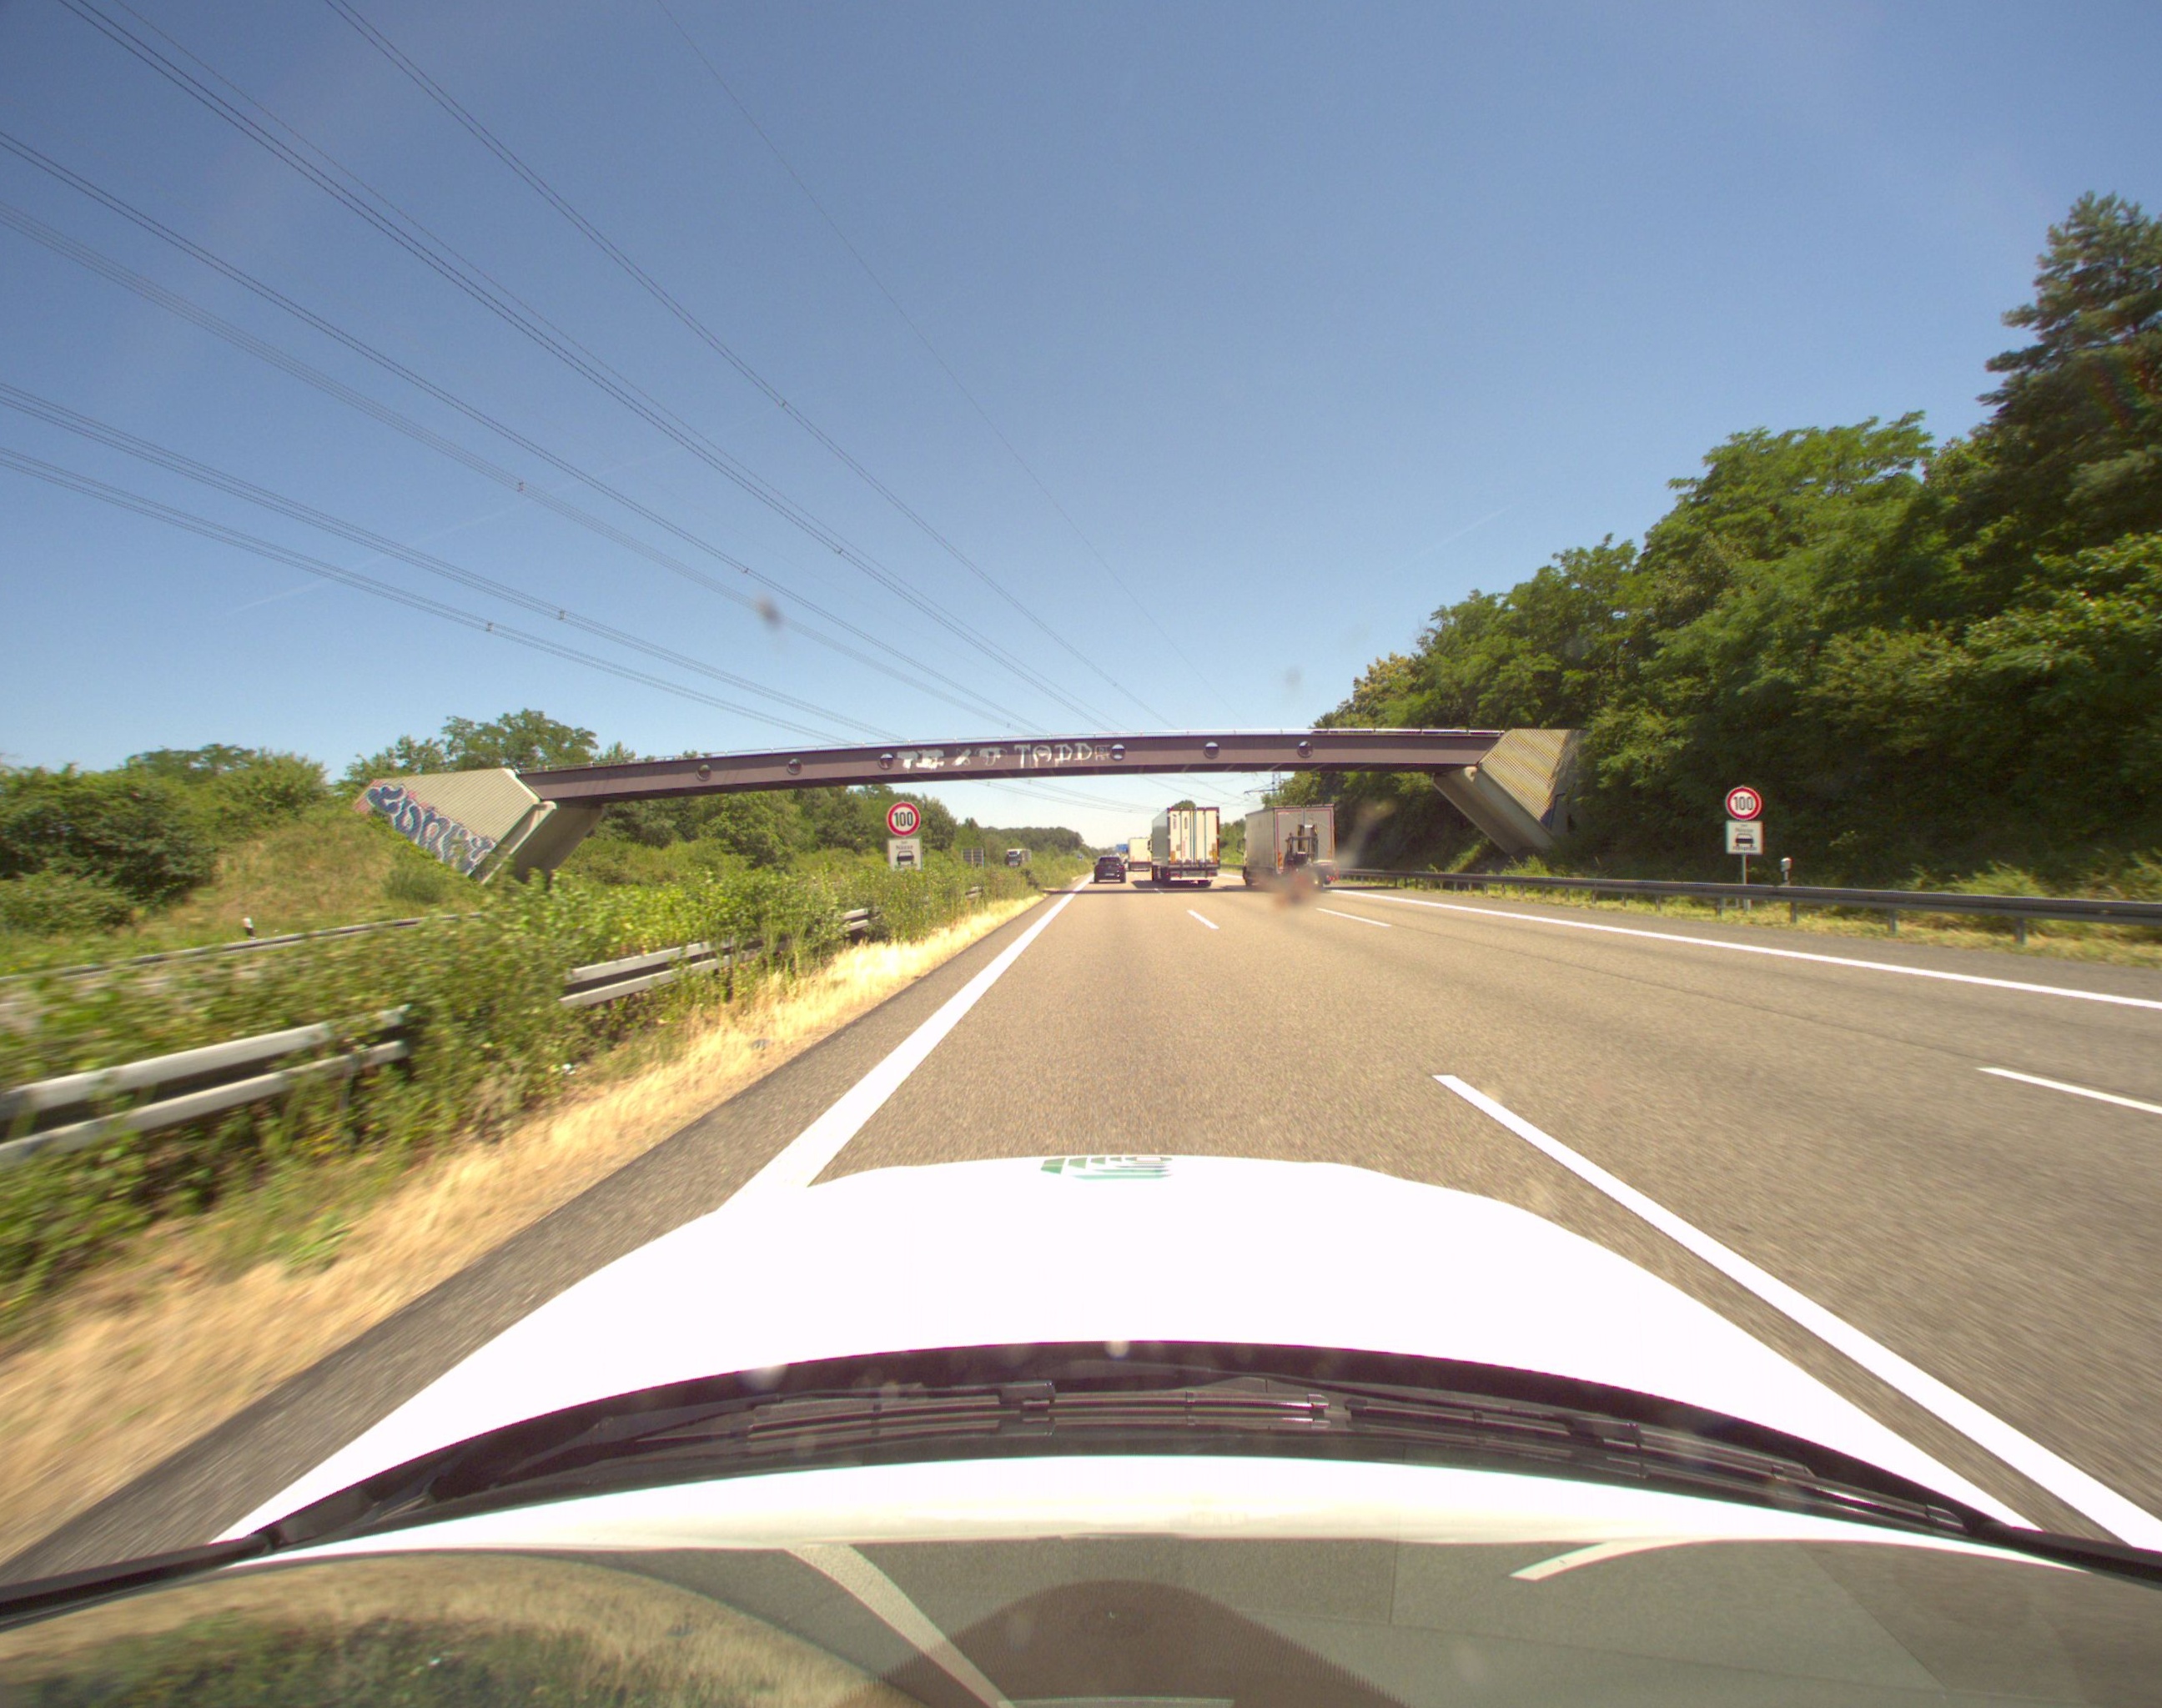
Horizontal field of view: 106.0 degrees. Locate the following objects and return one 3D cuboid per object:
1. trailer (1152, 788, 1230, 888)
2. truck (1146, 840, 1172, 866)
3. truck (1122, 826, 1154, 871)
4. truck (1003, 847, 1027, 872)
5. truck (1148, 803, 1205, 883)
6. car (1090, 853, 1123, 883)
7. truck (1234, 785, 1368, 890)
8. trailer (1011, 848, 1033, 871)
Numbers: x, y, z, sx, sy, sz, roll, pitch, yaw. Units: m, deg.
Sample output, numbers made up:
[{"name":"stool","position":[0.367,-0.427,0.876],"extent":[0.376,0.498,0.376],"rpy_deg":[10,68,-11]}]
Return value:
[{"name":"trailer","position":[5.852,-0.723,45.702],"extent":[3.075,4.885,12.261],"rpy_deg":[0,-1,2]},{"name":"truck","position":[13.724,-0.146,144.137],"extent":[3.500,4.492,13.250],"rpy_deg":[-1,0,0]},{"name":"truck","position":[6.894,-0.658,100.136],"extent":[3.499,5.166,10.261],"rpy_deg":[-1,0,2]},{"name":"truck","position":[-11.736,0.985,145.883],"extent":[2.747,4.121,10.222],"rpy_deg":[-3,-1,3]},{"name":"truck","position":[6.099,-0.655,53.016],"extent":[3.075,4.885,6.599],"rpy_deg":[0,-1,1]},{"name":"car","position":[1.592,0.857,51.683],"extent":[1.987,1.772,4.000],"rpy_deg":[-2,0,0]},{"name":"truck","position":[9.977,-0.631,38.794],"extent":[3.558,4.245,11.655],"rpy_deg":[0,-1,2]},{"name":"trailer","position":[-11.256,1.097,156.177],"extent":[2.756,4.096,10.303],"rpy_deg":[-3,-1,2]}]
